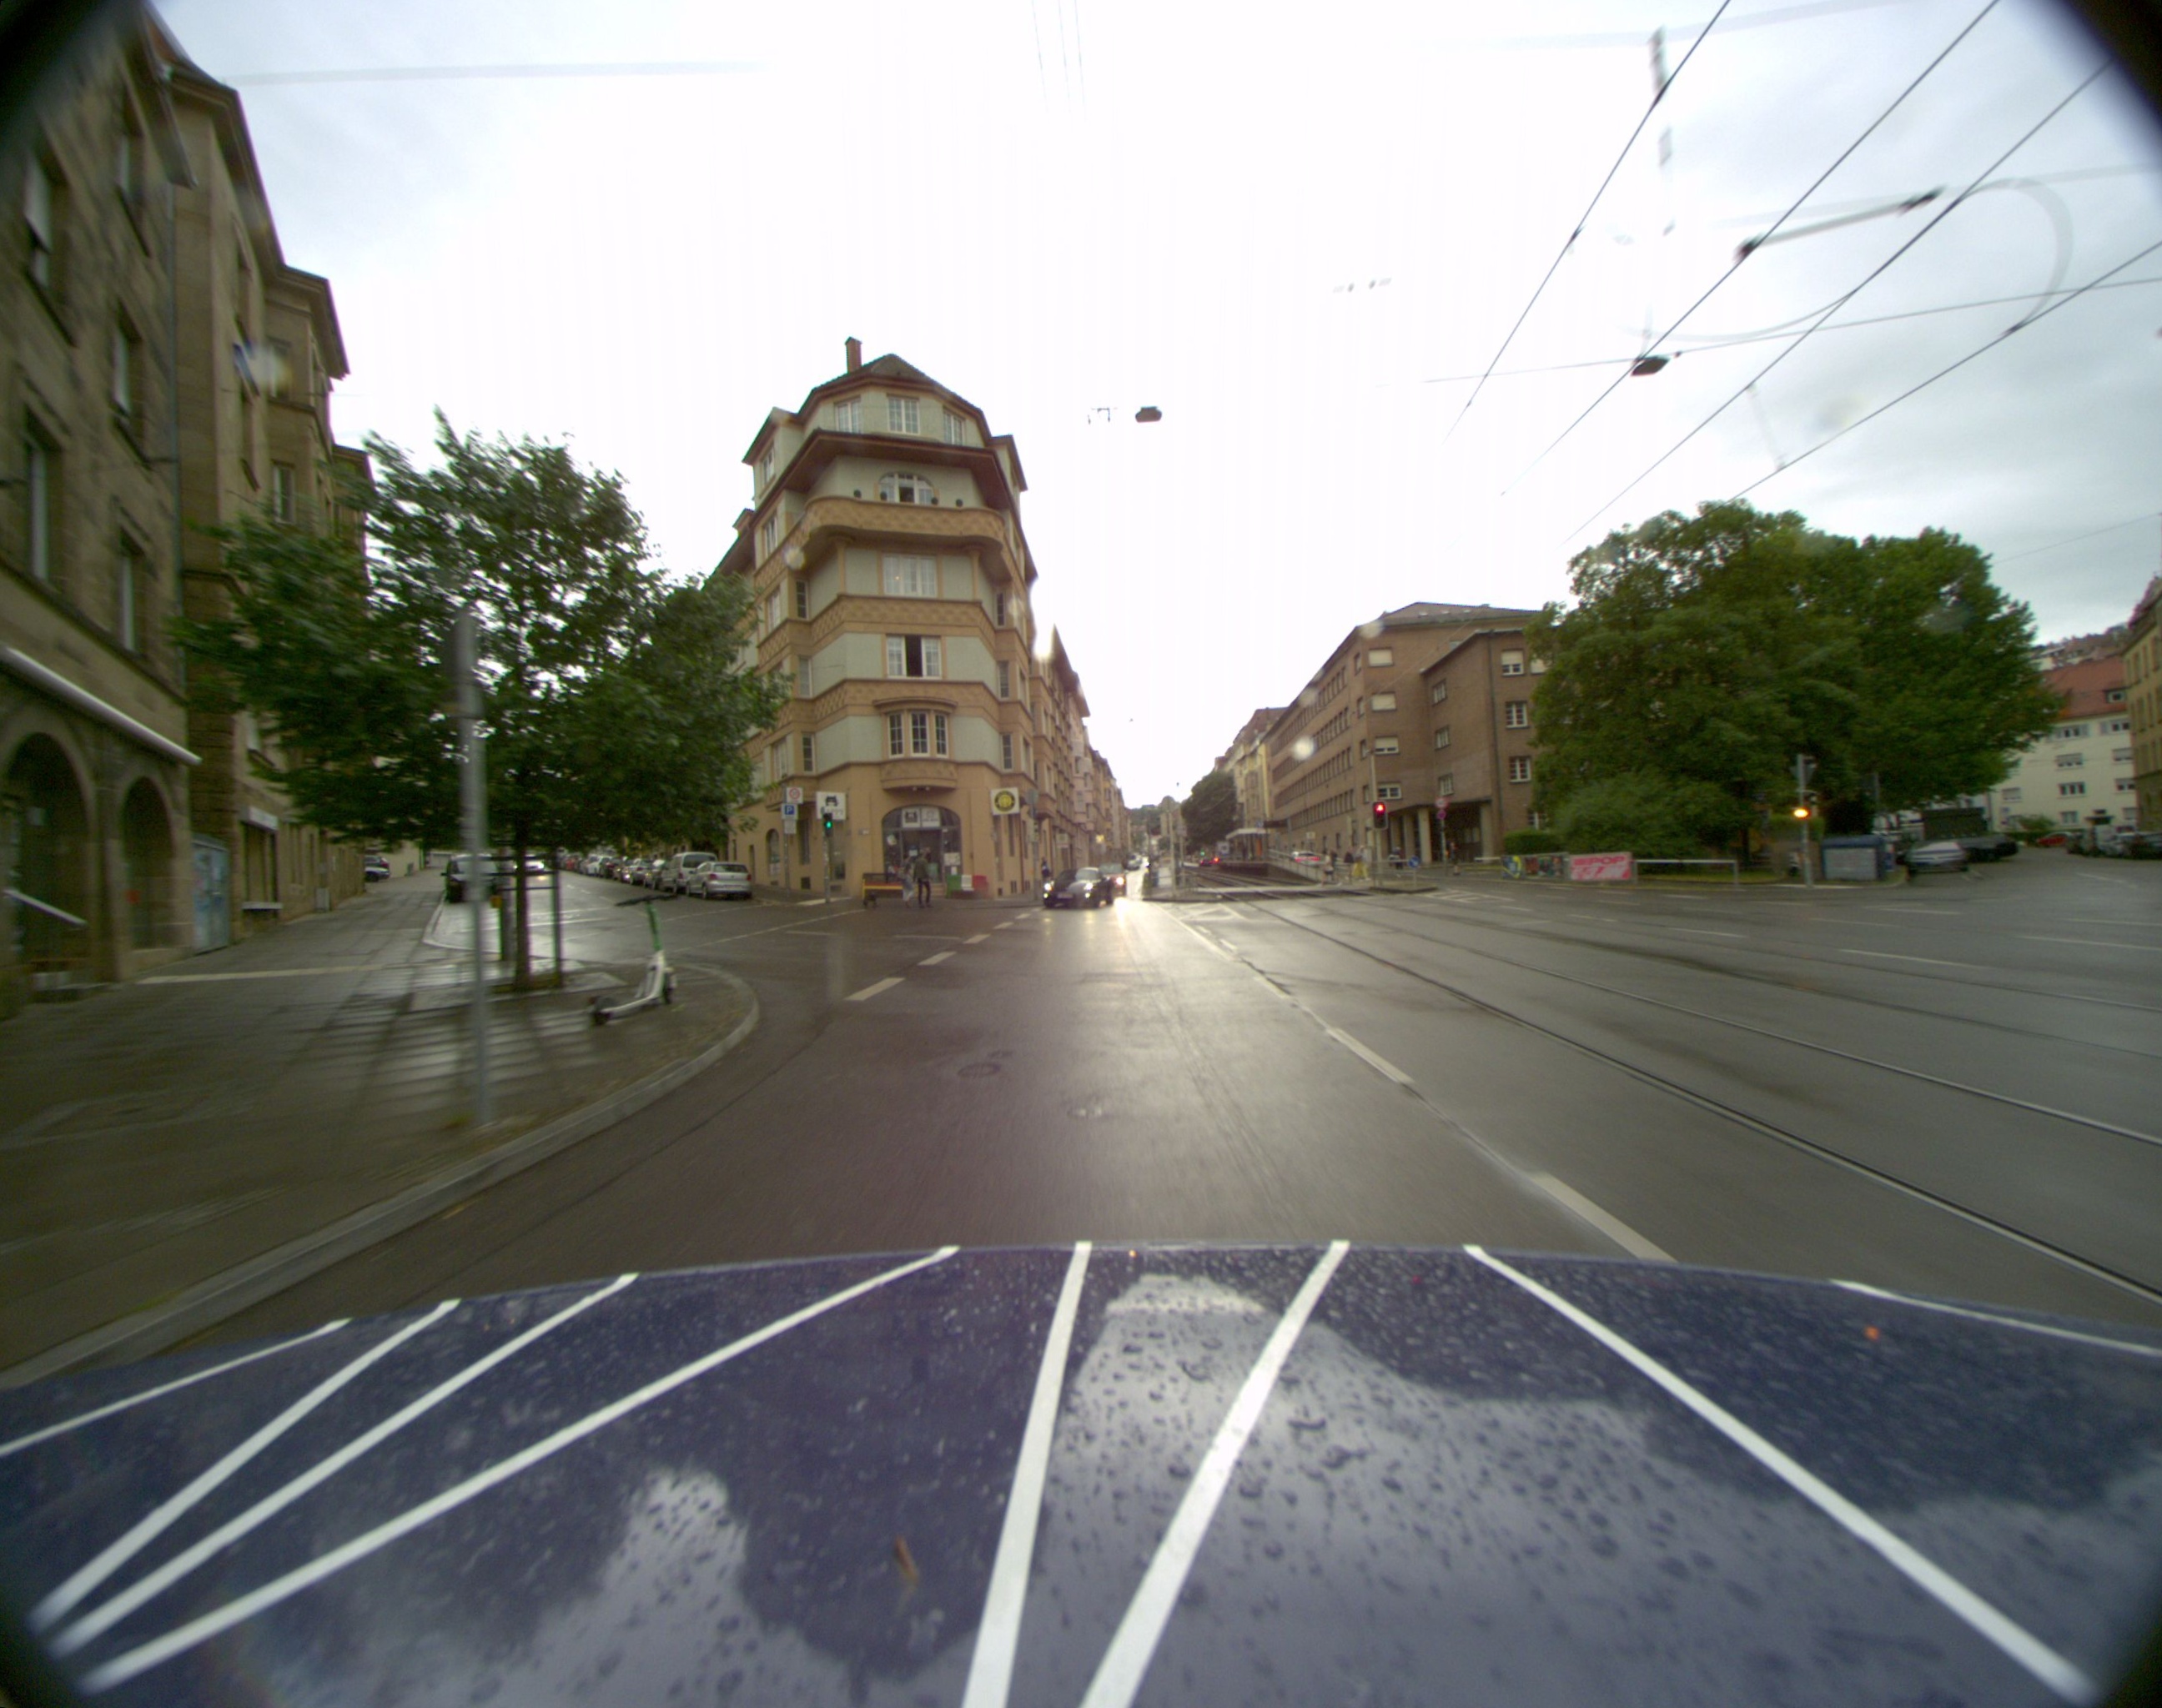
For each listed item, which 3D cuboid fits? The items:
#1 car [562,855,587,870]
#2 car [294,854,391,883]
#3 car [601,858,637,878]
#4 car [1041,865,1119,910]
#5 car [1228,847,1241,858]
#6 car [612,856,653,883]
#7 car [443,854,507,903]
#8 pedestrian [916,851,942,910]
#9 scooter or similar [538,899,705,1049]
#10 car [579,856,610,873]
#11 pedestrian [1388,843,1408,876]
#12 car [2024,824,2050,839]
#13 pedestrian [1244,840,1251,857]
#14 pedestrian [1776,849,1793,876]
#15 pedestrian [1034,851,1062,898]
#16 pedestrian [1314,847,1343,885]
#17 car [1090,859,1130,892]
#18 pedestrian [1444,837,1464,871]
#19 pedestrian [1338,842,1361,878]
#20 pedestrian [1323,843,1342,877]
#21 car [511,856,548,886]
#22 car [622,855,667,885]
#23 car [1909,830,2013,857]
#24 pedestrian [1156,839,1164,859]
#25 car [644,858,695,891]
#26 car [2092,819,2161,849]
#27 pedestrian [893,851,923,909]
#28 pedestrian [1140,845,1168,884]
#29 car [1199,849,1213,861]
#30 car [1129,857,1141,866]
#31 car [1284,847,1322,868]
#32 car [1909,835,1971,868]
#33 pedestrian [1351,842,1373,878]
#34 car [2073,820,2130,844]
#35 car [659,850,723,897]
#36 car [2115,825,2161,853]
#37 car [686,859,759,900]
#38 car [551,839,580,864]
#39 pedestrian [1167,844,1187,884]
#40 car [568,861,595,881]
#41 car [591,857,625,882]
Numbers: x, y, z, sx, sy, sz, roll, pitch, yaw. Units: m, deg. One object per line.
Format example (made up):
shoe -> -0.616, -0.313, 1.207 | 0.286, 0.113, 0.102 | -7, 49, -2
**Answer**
car -> -44.828, 0.747, 67.212 | 1.449, 1.166, 3.275 | -5, 3, -40
car -> -44.939, 0.883, 46.361 | 4.007, 1.474, 1.739 | -3, 0, -36
car -> -29.582, 0.893, 48.616 | 1.449, 1.119, 3.069 | -5, 3, -40
car -> 0.066, 1.085, 25.776 | 1.703, 1.280, 4.199 | -2, 0, 13
car -> 22.708, -0.238, 112.435 | 1.648, 1.457, 3.113 | -3, 0, 7
car -> -26.170, 0.862, 44.270 | 1.449, 1.417, 3.290 | -5, 3, -40
car -> -24.380, 0.924, 30.524 | 1.749, 1.716, 4.345 | -6, 4, -40
pedestrian -> -4.739, 0.809, 23.732 | 0.595, 1.778, 0.891 | -1, 1, 2
scooter or similar -> -4.417, 1.100, 7.446 | 0.639, 1.203, 1.553 | -2, 0, 1
car -> -35.546, 0.765, 55.449 | 1.449, 1.166, 3.275 | -5, 3, -40
pedestrian -> 15.924, 0.261, 38.175 | 0.766, 1.640, 0.649 | -1, 0, 4
car -> 94.645, -2.212, 75.205 | 3.708, 1.395, 1.567 | -2, 0, -38
pedestrian -> 16.647, -0.539, 76.130 | 0.588, 1.699, 0.491 | -2, 0, 4
pedestrian -> 28.610, 0.339, 30.904 | 0.417, 1.078, 0.283 | -1, 1, 29
pedestrian -> -1.307, 0.808, 30.308 | 0.967, 1.830, 0.903 | 1, 1, 5
pedestrian -> 10.528, 0.523, 32.283 | 0.954, 1.573, 0.696 | -2, 0, 37
car -> 1.435, 1.007, 36.220 | 1.689, 1.451, 3.300 | -1, 0, 6
pedestrian -> 18.541, -0.012, 37.775 | 0.605, 1.665, 0.689 | -1, 0, 2
pedestrian -> 13.301, 0.283, 37.628 | 0.745, 1.686, 0.883 | -4, 1, 4
pedestrian -> 12.741, 0.311, 38.521 | 0.666, 1.689, 0.688 | -3, 1, 2
car -> -38.896, 1.155, 53.540 | 1.749, 1.862, 3.989 | -8, 4, -39
car -> -23.428, 0.849, 40.707 | 1.449, 1.417, 3.290 | -5, 3, -40
car -> 52.140, -0.633, 45.125 | 1.746, 1.469, 3.989 | -2, 0, -41
pedestrian -> 7.145, -0.488, 68.741 | 0.645, 1.764, 0.711 | -3, 0, 5
car -> -19.420, 0.946, 35.806 | 1.449, 1.417, 3.290 | -3, 1, -40
car -> 61.064, -1.159, 44.332 | 4.008, 1.621, 1.994 | -2, 0, -44
pedestrian -> -5.402, 0.795, 23.816 | 0.683, 1.778, 0.902 | -1, 1, 1
pedestrian -> 3.784, 0.548, 39.473 | 0.949, 2.002, 0.927 | -3, 0, -39
car -> 21.048, 0.175, 127.771 | 1.998, 2.002, 4.001 | -1, 0, 5
car -> 8.992, 1.288, 126.759 | 1.632, 1.443, 4.002 | -3, 0, 7
car -> 18.028, 0.263, 61.935 | 1.998, 1.618, 5.254 | 0, 1, 5
car -> 39.239, -0.129, 34.789 | 4.008, 1.395, 1.737 | -2, 0, -43
pedestrian -> 13.147, 0.286, 35.545 | 0.745, 1.637, 0.641 | -3, 0, 6
car -> 65.029, -1.385, 48.478 | 4.008, 1.395, 1.737 | -2, 0, -43
car -> -16.832, 0.816, 32.746 | 1.608, 1.834, 3.545 | -5, 3, -40
car -> 56.995, -0.808, 40.497 | 4.008, 1.395, 1.737 | -2, 0, -43
car -> -13.755, 0.938, 29.041 | 1.694, 1.451, 3.525 | 1, -1, -40
car -> -51.500, -0.263, 75.857 | 1.954, 2.443, 3.802 | -2, 0, -40
pedestrian -> 4.931, 0.498, 39.140 | 0.899, 2.002, 0.948 | -3, 0, 5
car -> -42.247, 1.423, 64.245 | 1.449, 1.565, 3.275 | -5, 3, -40
car -> -32.499, 1.066, 52.154 | 1.449, 1.565, 3.275 | -5, 3, -40
